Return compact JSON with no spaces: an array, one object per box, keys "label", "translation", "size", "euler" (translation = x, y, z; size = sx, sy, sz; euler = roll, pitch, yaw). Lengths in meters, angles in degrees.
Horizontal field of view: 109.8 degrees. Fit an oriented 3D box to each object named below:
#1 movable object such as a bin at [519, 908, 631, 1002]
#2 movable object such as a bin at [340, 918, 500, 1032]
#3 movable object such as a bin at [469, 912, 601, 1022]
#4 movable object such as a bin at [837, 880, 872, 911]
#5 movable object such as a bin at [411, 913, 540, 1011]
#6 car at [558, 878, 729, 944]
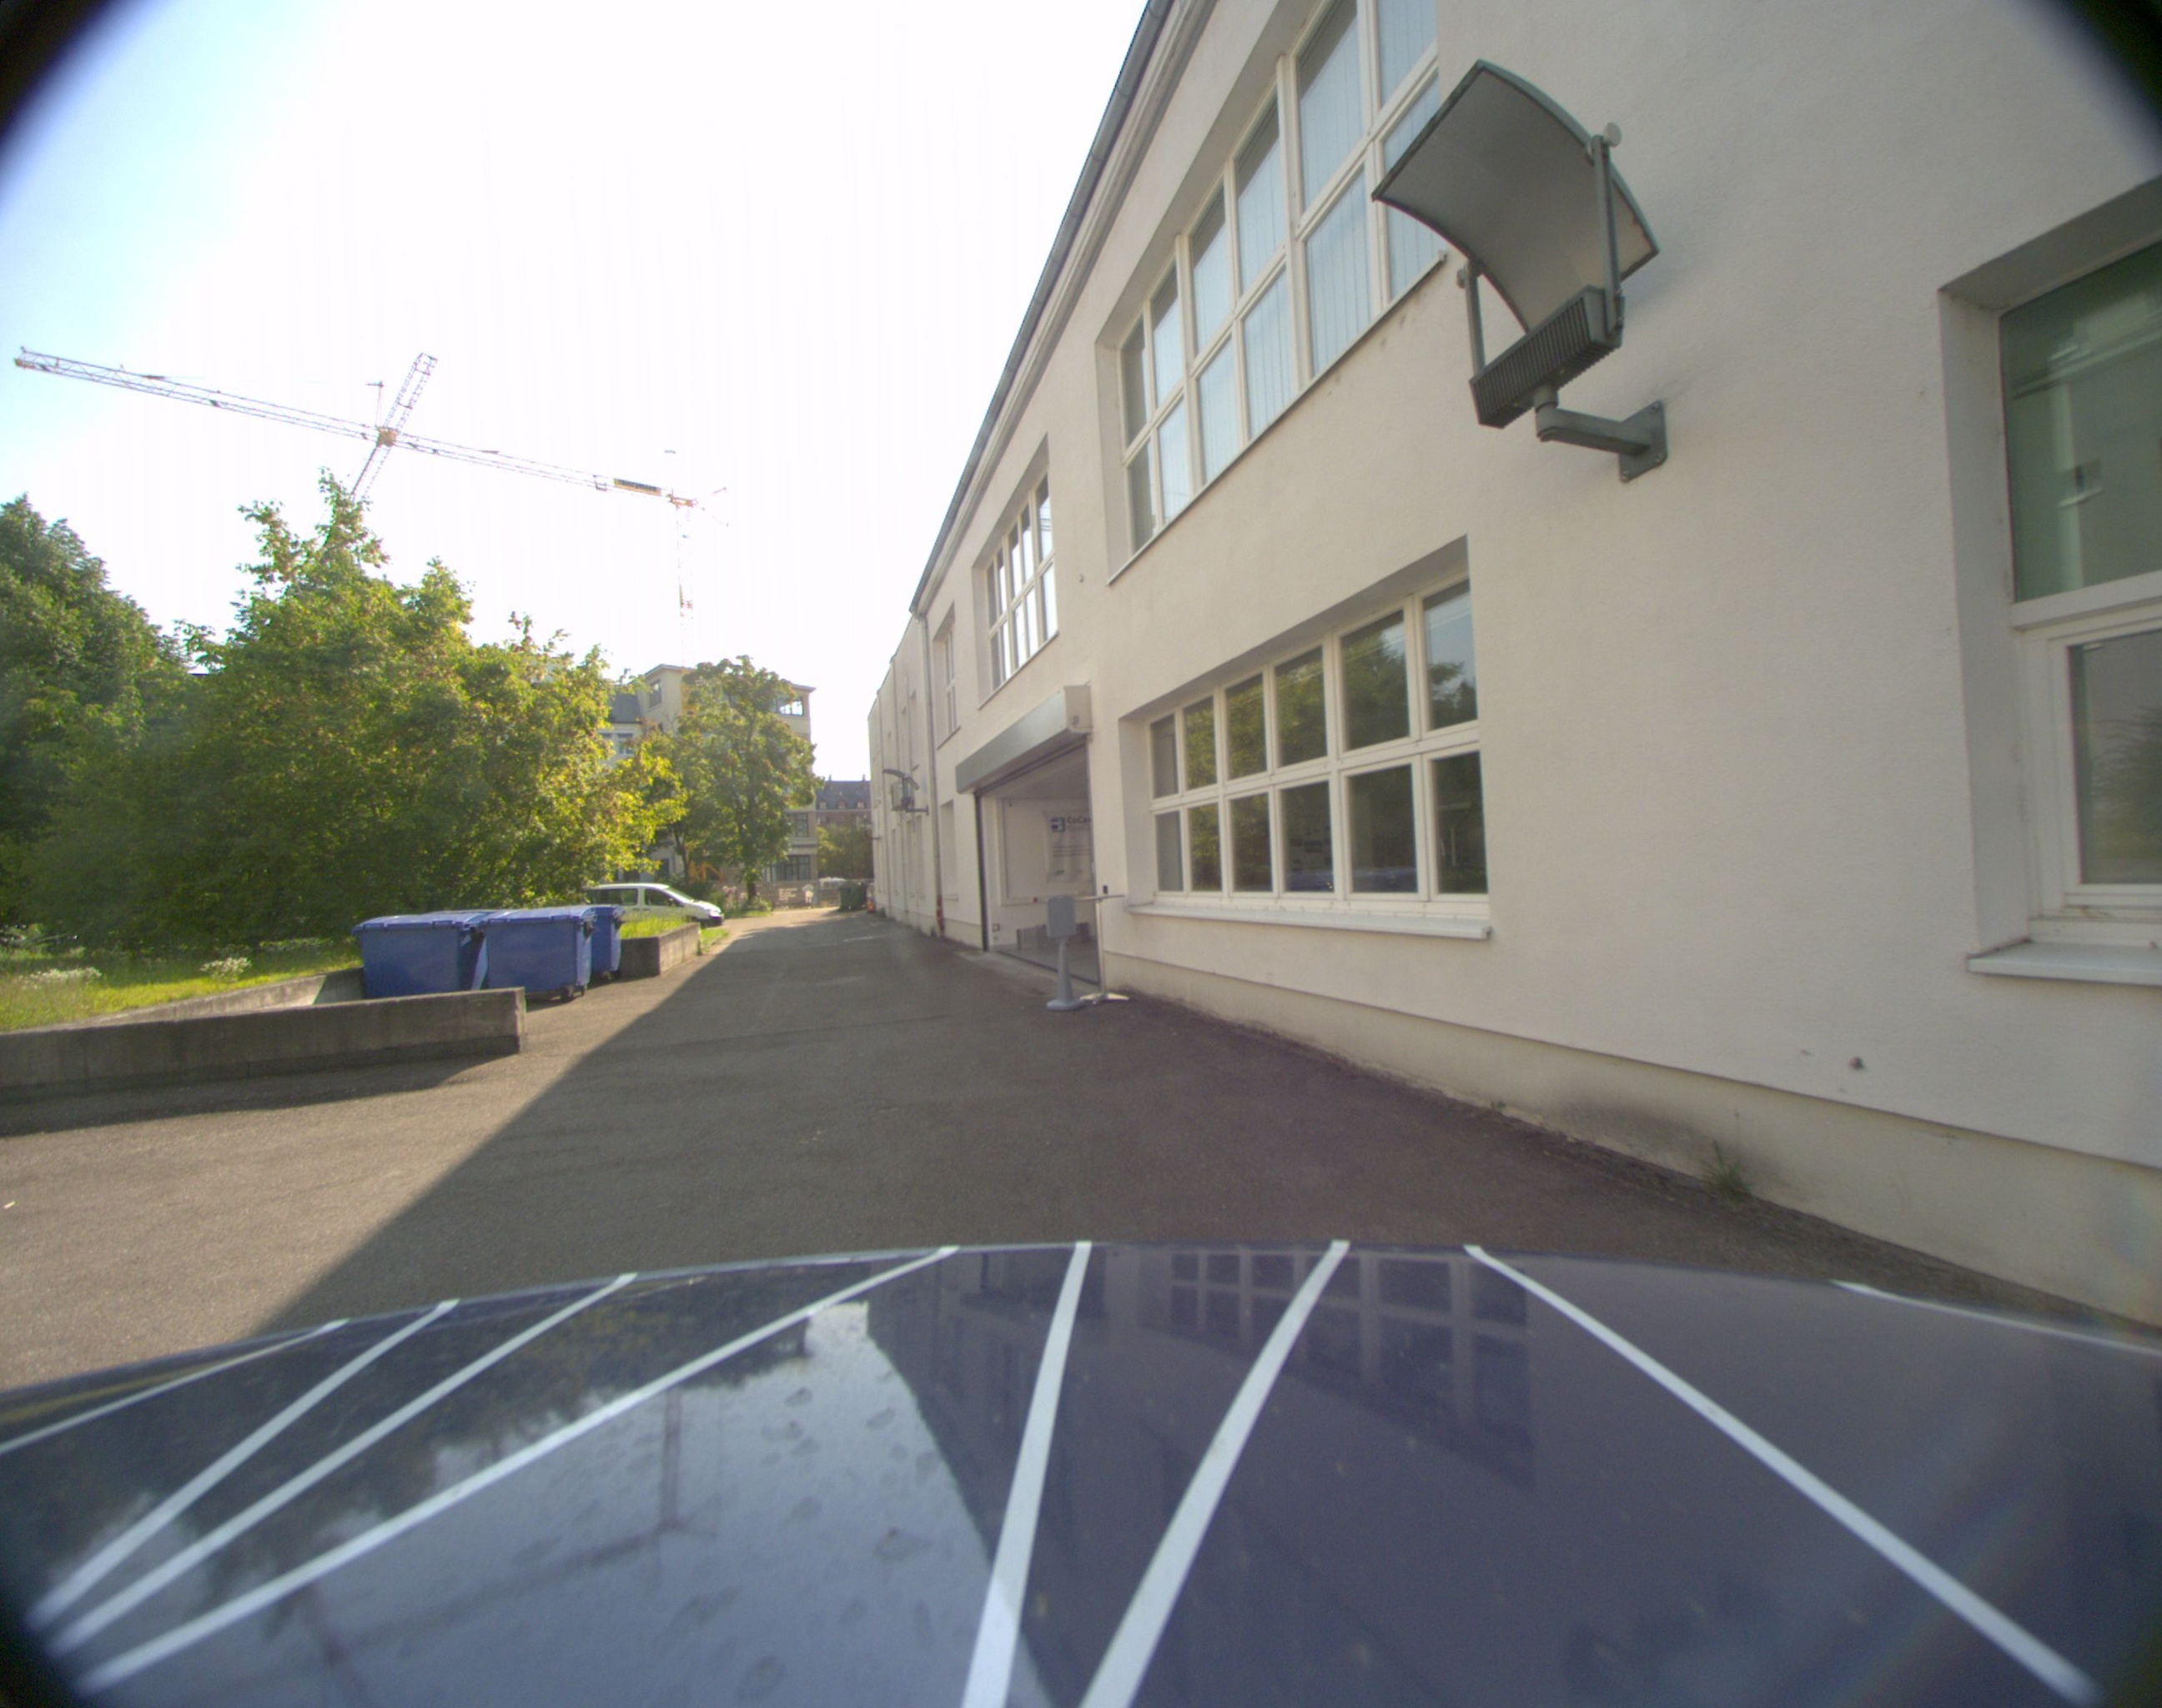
[{"label":"movable object such as a bin","translation":[-8.328,1.624,12.592],"size":[1.201,1.319,1.273],"euler":[-3,-1,-19]},{"label":"movable object such as a bin","translation":[-9.184,1.635,10.654],"size":[1.259,1.319,1.273],"euler":[-3,-1,-19]},{"label":"movable object such as a bin","translation":[-7.880,1.583,11.061],"size":[1.215,1.343,1.273],"euler":[-3,-1,-21]},{"label":"movable object such as a bin","translation":[-11.313,2.057,37.900],"size":[1.527,1.457,1.273],"euler":[-3,-1,-19]},{"label":"movable object such as a bin","translation":[-9.605,1.672,12.136],"size":[1.201,1.319,1.273],"euler":[-3,-1,-19]},{"label":"car","translation":[-15.100,1.925,26.516],"size":[4.797,1.920,1.906],"euler":[-2,-1,-18]}]
